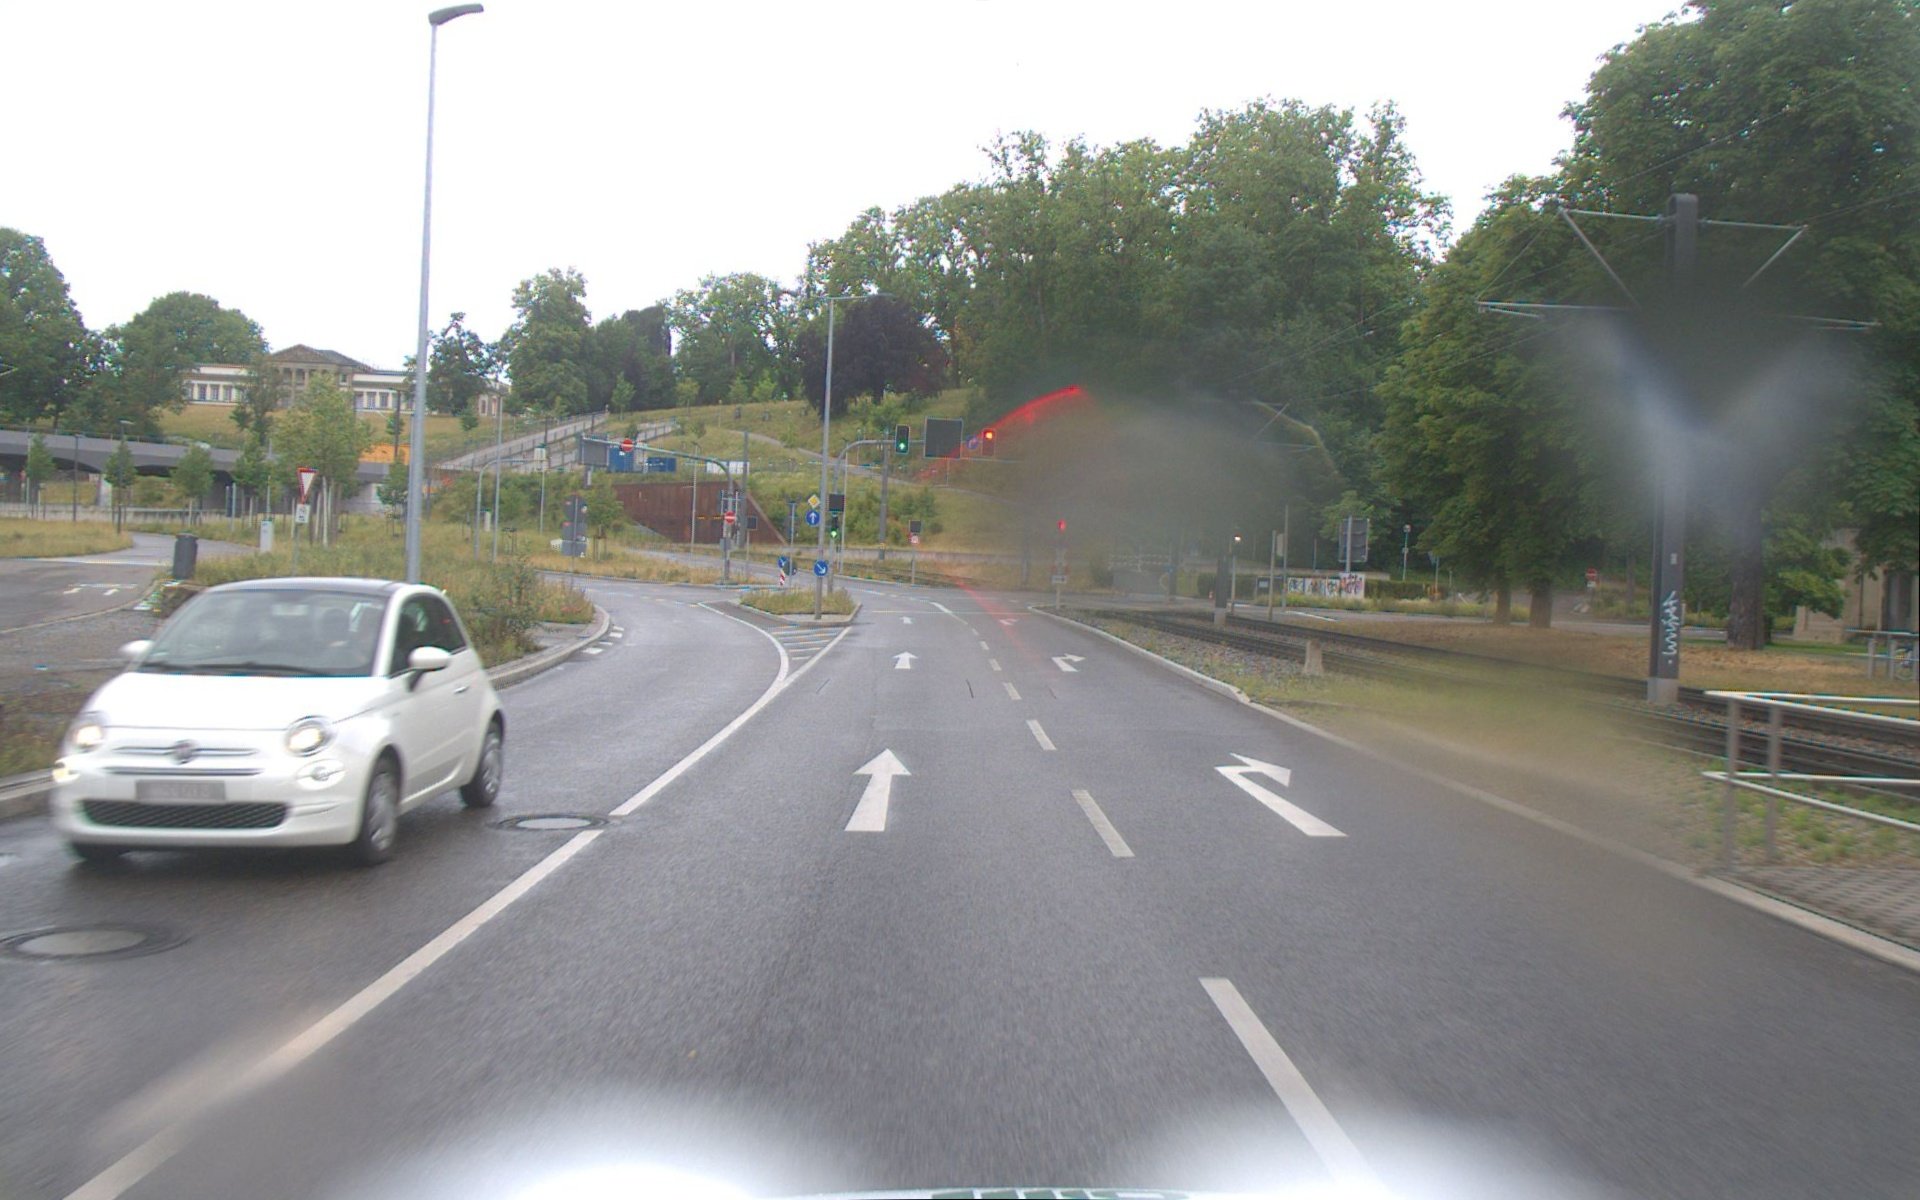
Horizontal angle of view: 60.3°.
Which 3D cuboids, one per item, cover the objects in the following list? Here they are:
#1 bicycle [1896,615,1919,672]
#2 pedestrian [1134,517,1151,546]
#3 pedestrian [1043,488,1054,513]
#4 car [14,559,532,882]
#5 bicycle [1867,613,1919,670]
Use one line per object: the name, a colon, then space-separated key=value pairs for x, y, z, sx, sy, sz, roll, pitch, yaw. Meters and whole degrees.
bicycle: x=18.721 y=0.839 z=31.183 sx=1.774 sy=1.050 sz=0.652 roll=2 pitch=1 yaw=-3
pedestrian: x=12.262 y=-4.595 z=111.143 sx=0.937 sy=1.812 sz=1.124 roll=5 pitch=2 yaw=11
pedestrian: x=7.358 y=-8.264 z=137.721 sx=0.776 sy=2.047 sz=0.654 roll=-2 pitch=7 yaw=-17
car: x=-3.762 y=0.564 z=9.769 sx=1.555 sy=1.517 sz=3.713 roll=1 pitch=0 yaw=-1
bicycle: x=18.656 y=0.818 z=32.063 sx=1.774 sy=1.050 sz=0.652 roll=2 pitch=1 yaw=-3
